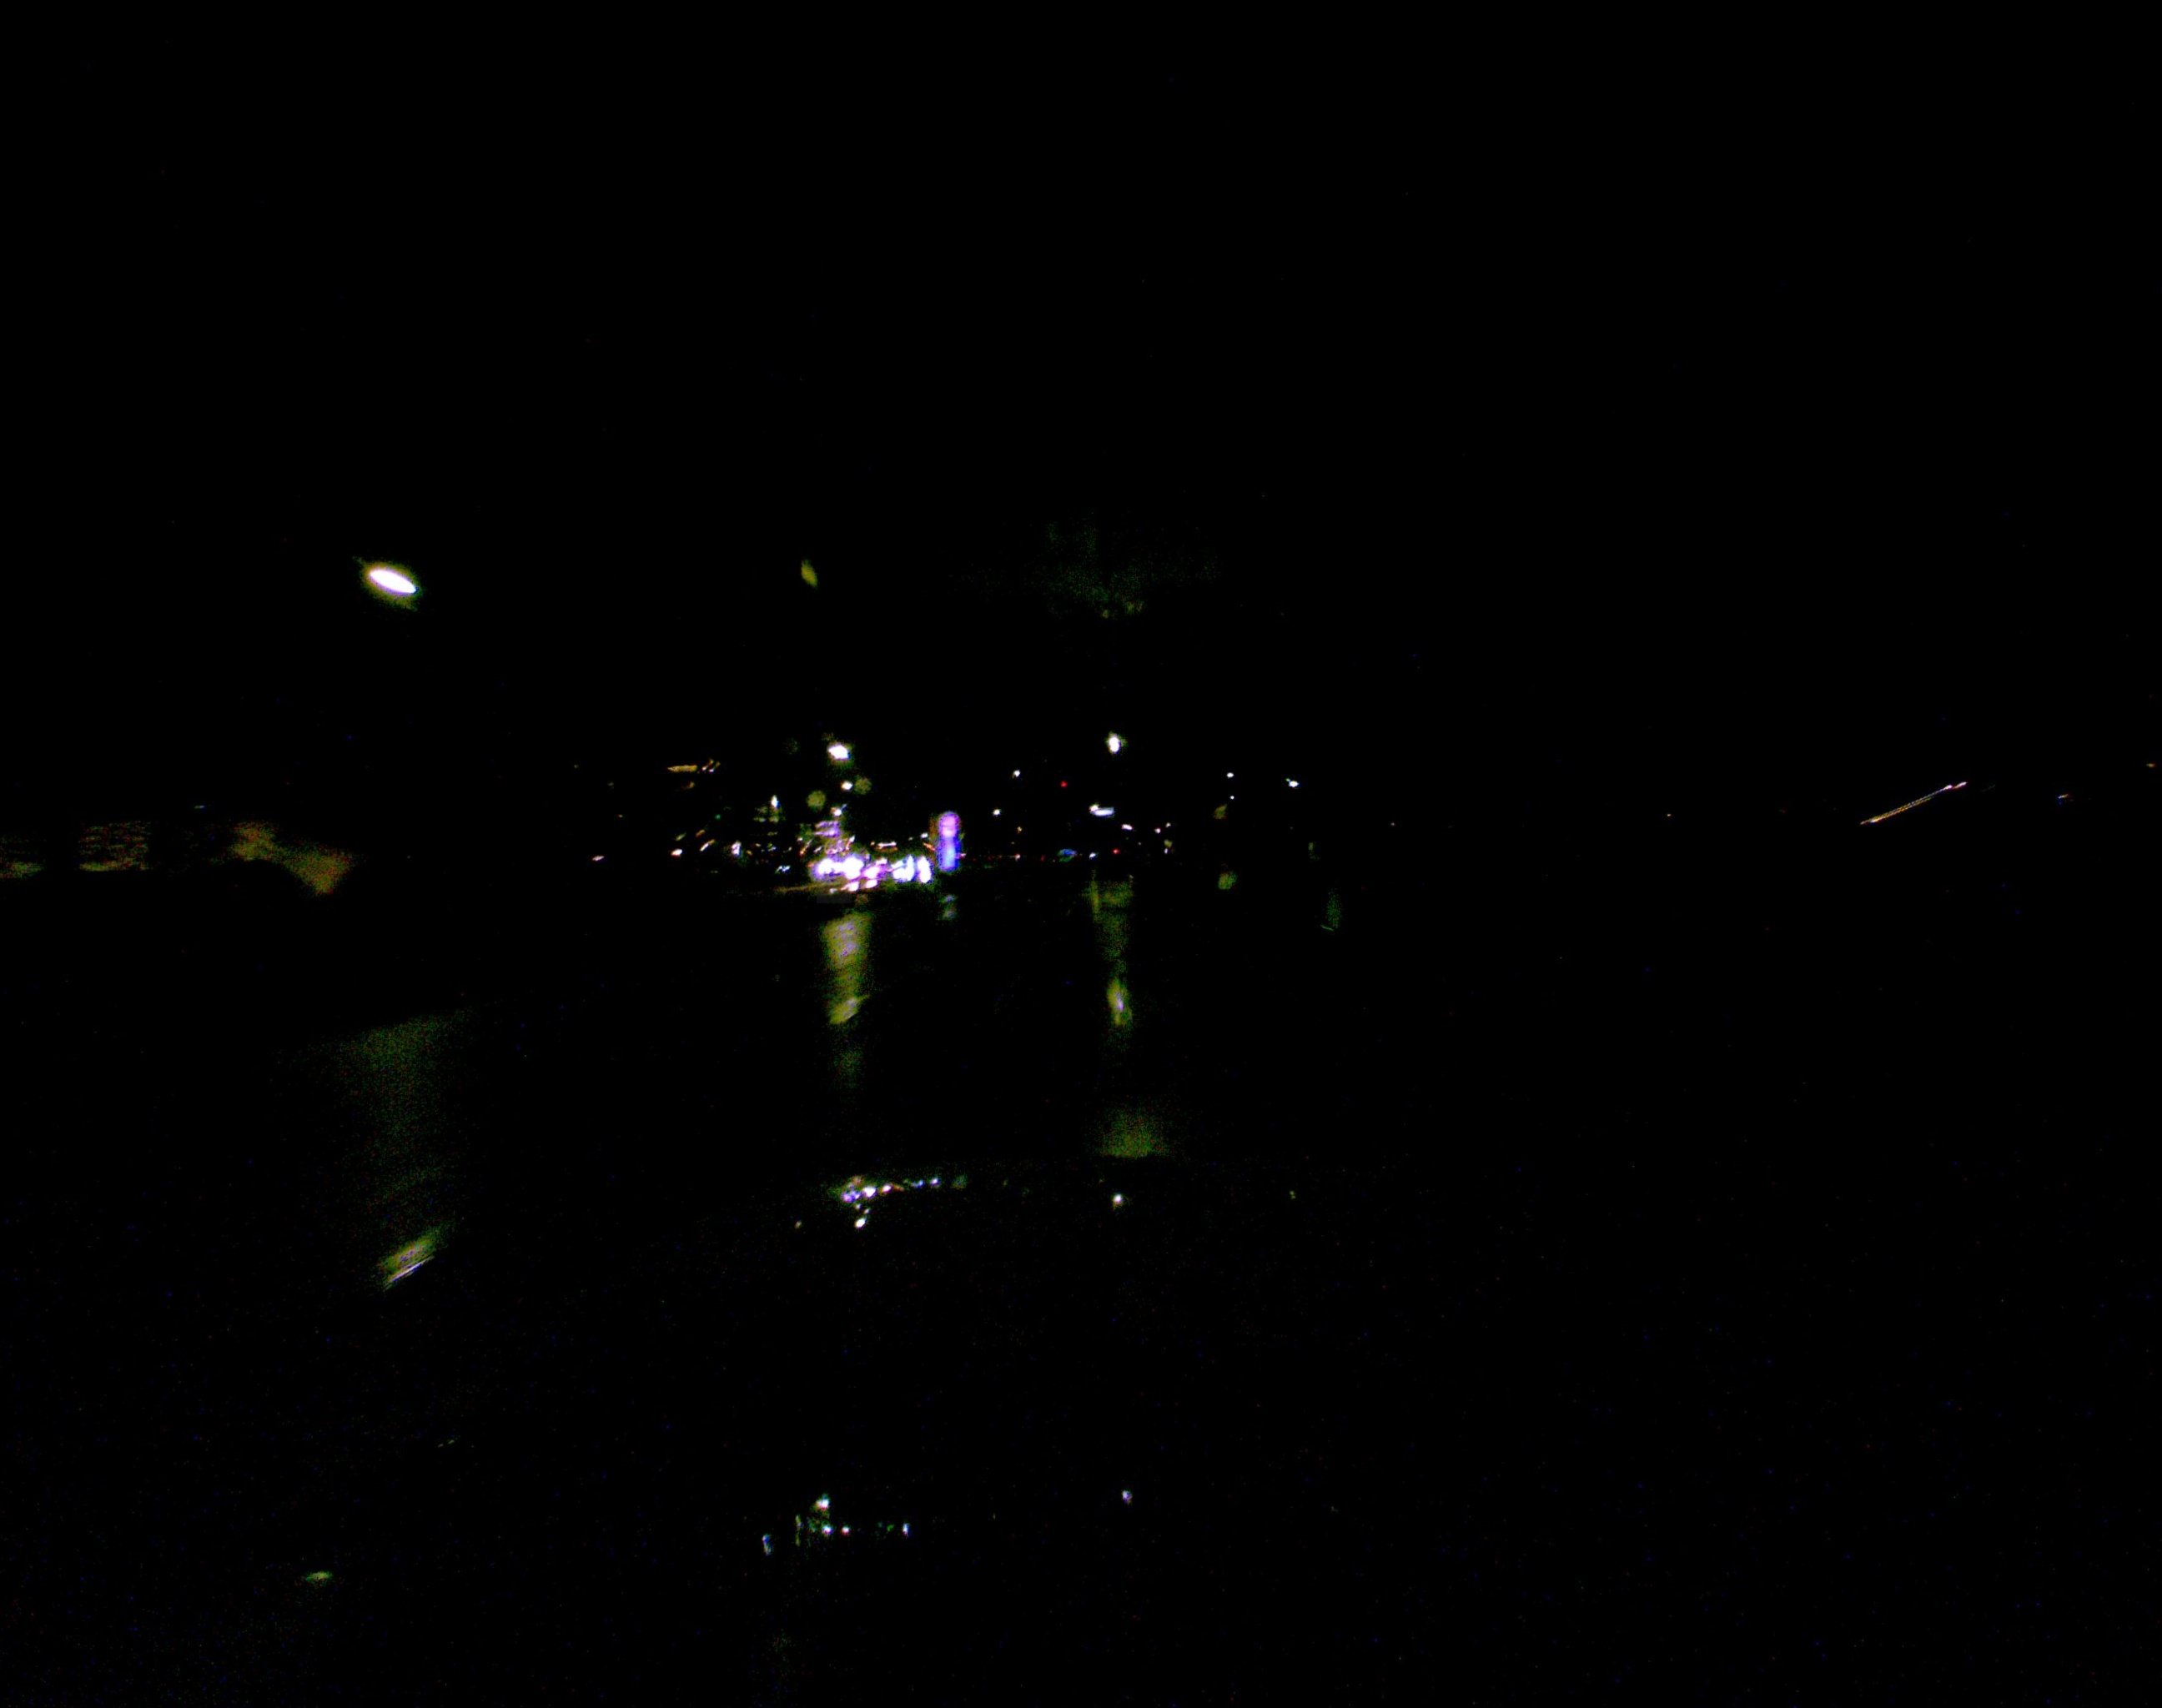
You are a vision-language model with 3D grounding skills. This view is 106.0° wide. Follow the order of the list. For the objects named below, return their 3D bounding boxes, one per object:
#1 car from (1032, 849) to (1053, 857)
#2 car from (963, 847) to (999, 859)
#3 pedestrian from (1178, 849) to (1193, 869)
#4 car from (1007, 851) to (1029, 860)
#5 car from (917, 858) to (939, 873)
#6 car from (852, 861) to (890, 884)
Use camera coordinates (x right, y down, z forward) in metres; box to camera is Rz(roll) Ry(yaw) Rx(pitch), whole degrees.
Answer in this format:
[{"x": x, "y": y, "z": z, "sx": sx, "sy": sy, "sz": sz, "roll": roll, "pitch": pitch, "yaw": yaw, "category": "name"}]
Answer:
[{"x": -7.271, "y": -0.176, "z": 153.168, "sx": 3.940, "sy": 1.578, "sz": 1.736, "roll": -1, "pitch": 0, "yaw": -1, "category": "car"}, {"x": -18.626, "y": -0.121, "z": 151.909, "sx": 6.321, "sy": 2.089, "sz": 2.496, "roll": -1, "pitch": 0, "yaw": -23, "category": "car"}, {"x": 9.579, "y": 0.428, "z": 74.774, "sx": 1.223, "sy": 1.794, "sz": 1.490, "roll": -1, "pitch": 0, "yaw": 1, "category": "pedestrian"}, {"x": -11.928, "y": 0.364, "z": 153.700, "sx": 3.981, "sy": 1.616, "sz": 1.833, "roll": -1, "pitch": 0, "yaw": -6, "category": "car"}, {"x": -16.141, "y": 1.181, "z": 85.779, "sx": 1.834, "sy": 1.464, "sz": 3.975, "roll": -1, "pitch": 0, "yaw": -18, "category": "car"}, {"x": -17.209, "y": 1.521, "z": 67.044, "sx": 1.822, "sy": 1.713, "sz": 4.443, "roll": -1, "pitch": 0, "yaw": 2, "category": "car"}]
